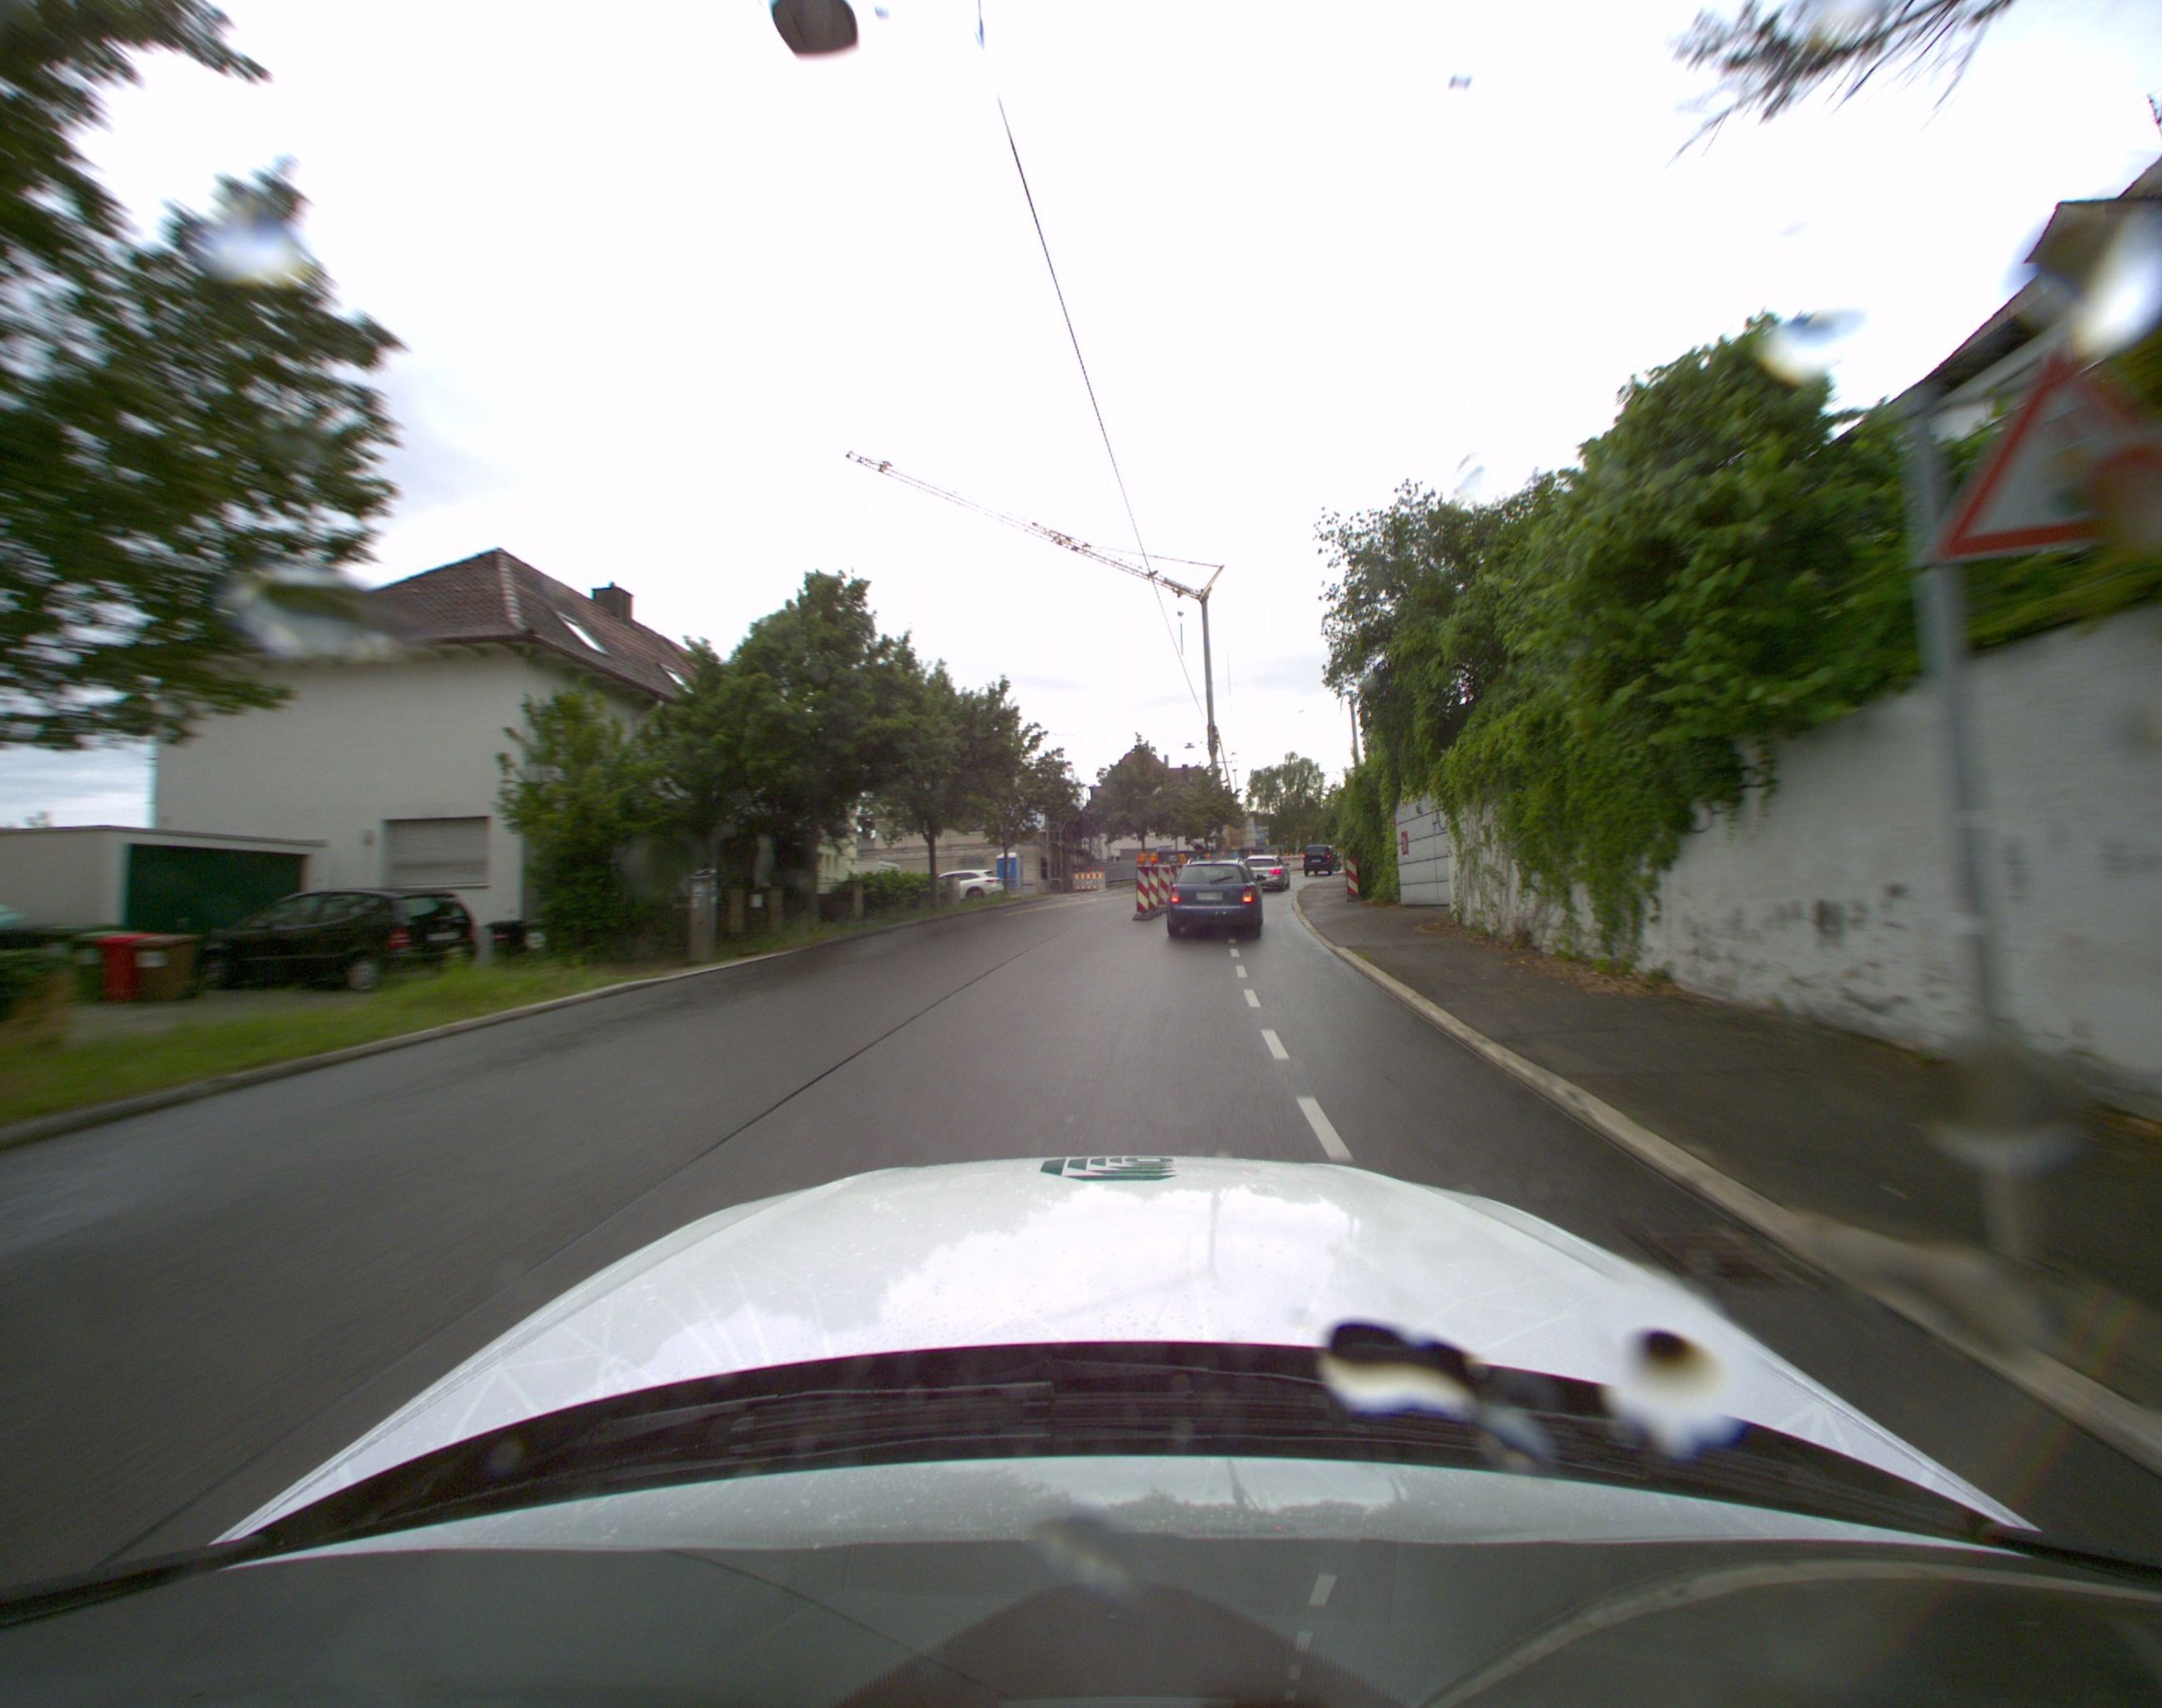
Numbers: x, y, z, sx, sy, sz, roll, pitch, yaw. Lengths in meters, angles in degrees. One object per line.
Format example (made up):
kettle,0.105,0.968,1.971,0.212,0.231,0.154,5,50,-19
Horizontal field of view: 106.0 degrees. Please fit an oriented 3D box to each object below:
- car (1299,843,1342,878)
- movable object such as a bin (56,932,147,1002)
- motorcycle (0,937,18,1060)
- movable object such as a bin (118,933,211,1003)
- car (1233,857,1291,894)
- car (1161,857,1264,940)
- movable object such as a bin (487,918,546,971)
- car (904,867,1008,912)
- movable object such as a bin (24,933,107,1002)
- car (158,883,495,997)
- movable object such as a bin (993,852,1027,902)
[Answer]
car,14.686,0.357,49.755,1.714,1.894,4.079,-6,-2,26
movable object such as a bin,-14.110,1.621,11.744,0.610,0.921,0.593,0,0,7
motorcycle,-11.495,1.496,7.517,0.729,1.248,1.970,-1,0,2
movable object such as a bin,-13.188,1.634,11.728,0.682,0.921,0.593,0,0,7
car,7.483,0.852,33.345,1.894,1.388,4.370,-1,-1,17
car,2.732,0.787,16.219,1.765,1.439,4.014,0,-1,13
movable object such as a bin,-10.437,1.670,15.081,0.665,0.921,0.593,0,0,7
car,-5.636,1.616,36.988,4.173,1.604,1.955,-6,-2,8
movable object such as a bin,-14.709,1.630,11.804,0.506,0.921,0.556,0,0,7
car,-12.162,1.319,13.291,3.919,1.543,1.867,1,0,7
movable object such as a bin,-3.691,1.170,42.552,1.304,2.506,1.390,-3,-1,10
